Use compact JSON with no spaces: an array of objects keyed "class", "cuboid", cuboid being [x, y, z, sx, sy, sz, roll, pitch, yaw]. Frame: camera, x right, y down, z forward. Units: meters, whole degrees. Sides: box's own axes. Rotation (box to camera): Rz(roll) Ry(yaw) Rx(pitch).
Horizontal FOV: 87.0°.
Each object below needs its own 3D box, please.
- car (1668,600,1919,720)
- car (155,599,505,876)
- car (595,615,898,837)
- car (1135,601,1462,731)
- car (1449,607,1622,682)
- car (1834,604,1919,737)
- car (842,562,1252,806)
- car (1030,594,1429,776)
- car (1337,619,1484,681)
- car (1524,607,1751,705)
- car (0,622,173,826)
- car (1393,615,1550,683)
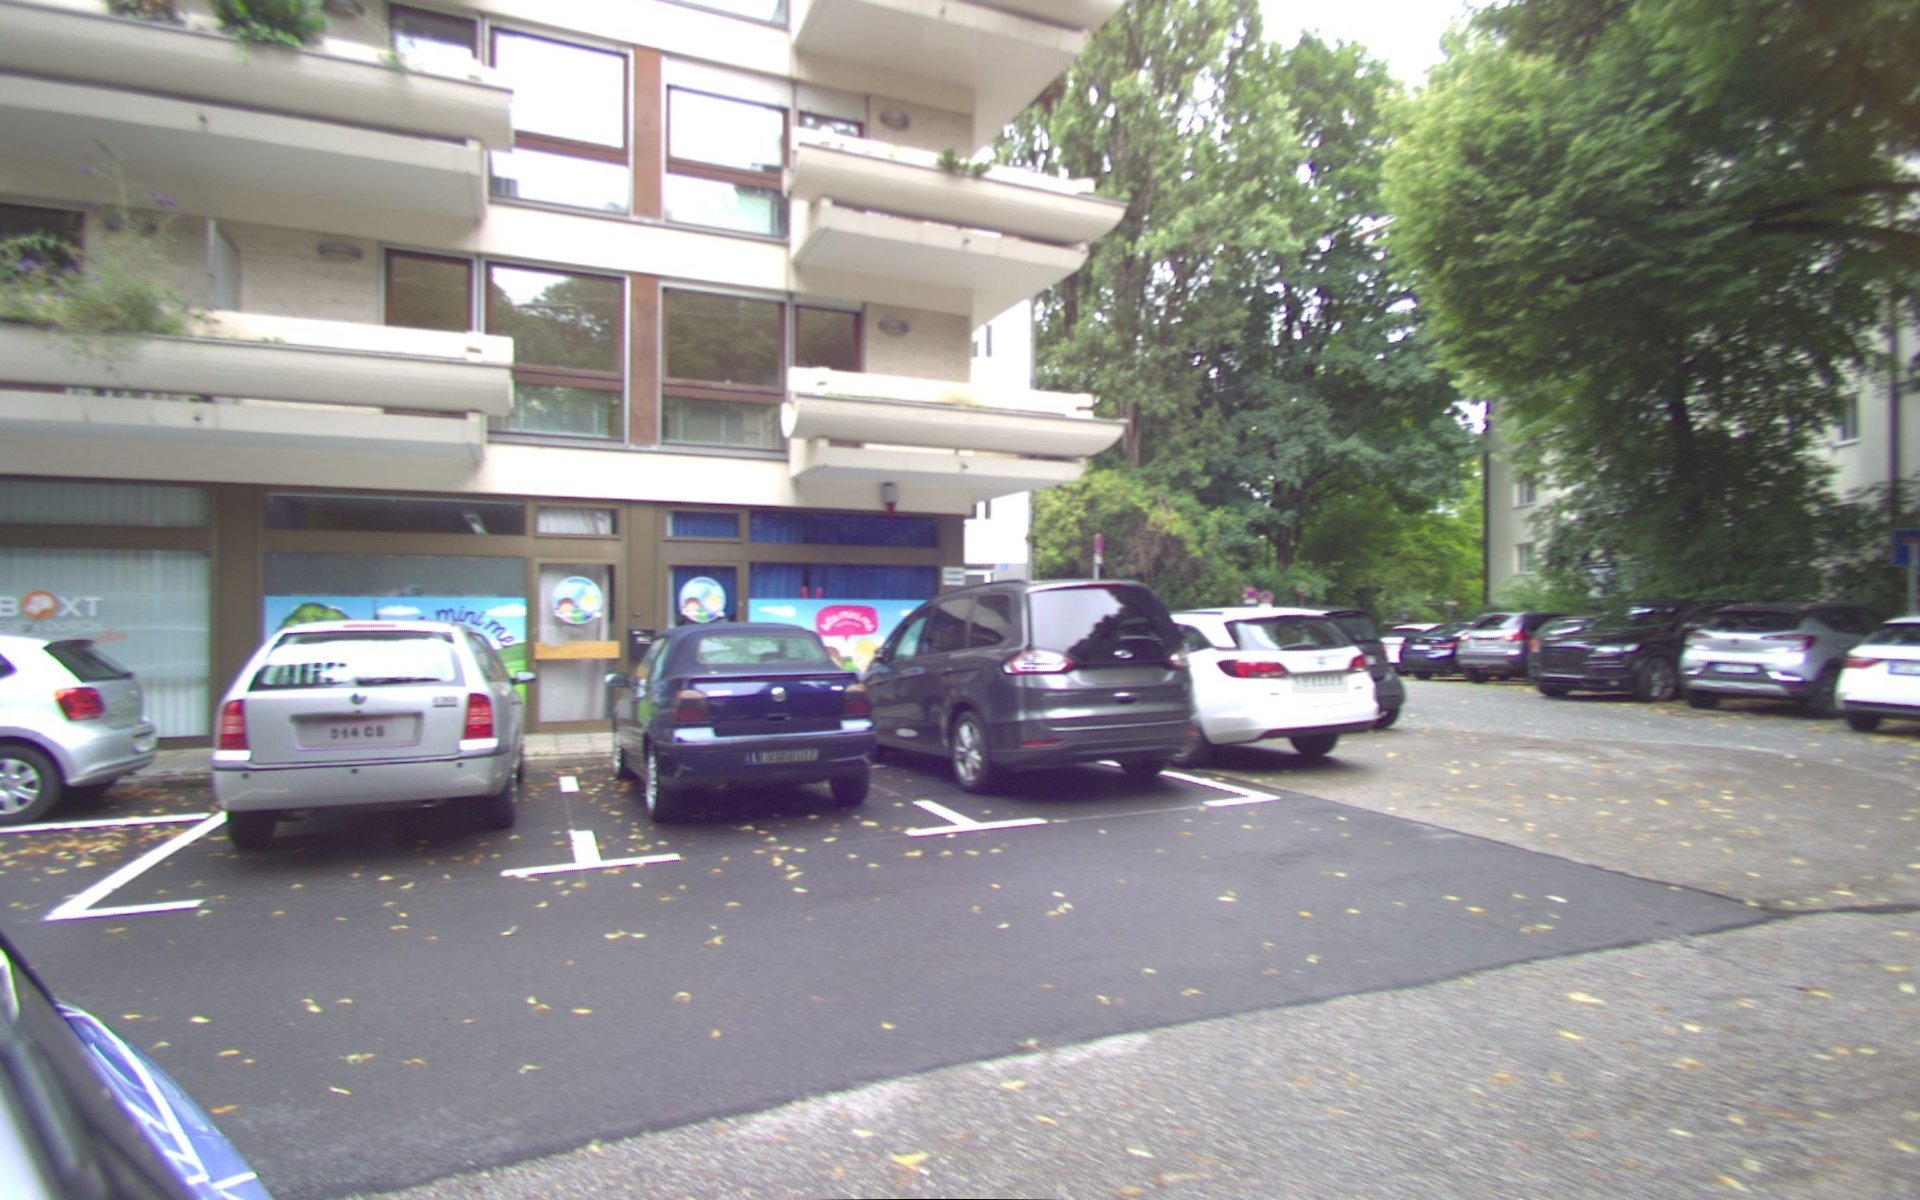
[{"class":"car","cuboid":[12.456,0.762,14.524,3.931,1.521,1.881,0,0,-21]},{"class":"car","cuboid":[-4.406,0.852,7.715,1.691,1.466,4.255,0,-3,-24]},{"class":"car","cuboid":[-2.052,0.895,8.619,1.688,1.378,4.085,0,-3,-24]},{"class":"car","cuboid":[4.417,0.879,13.836,1.804,1.491,4.012,1,-4,-30]},{"class":"car","cuboid":[12.854,0.930,22.552,3.932,1.489,1.729,0,0,-33]},{"class":"car","cuboid":[12.327,0.768,11.693,3.931,1.442,1.730,0,0,-21]},{"class":"car","cuboid":[0.490,0.682,9.394,1.869,1.697,4.247,0,-3,-25]},{"class":"car","cuboid":[2.506,0.810,10.498,1.804,1.491,4.013,0,-3,-25]},{"class":"car","cuboid":[12.114,1.283,27.175,3.932,1.489,1.729,0,0,-33]},{"class":"car","cuboid":[11.442,0.847,17.025,3.935,1.412,2.067,0,0,-38]},{"class":"car","cuboid":[-8.274,0.921,7.350,3.767,1.432,1.571,0,-2,-25]},{"class":"car","cuboid":[12.709,1.156,25.082,3.932,1.489,1.729,0,0,-33]}]
